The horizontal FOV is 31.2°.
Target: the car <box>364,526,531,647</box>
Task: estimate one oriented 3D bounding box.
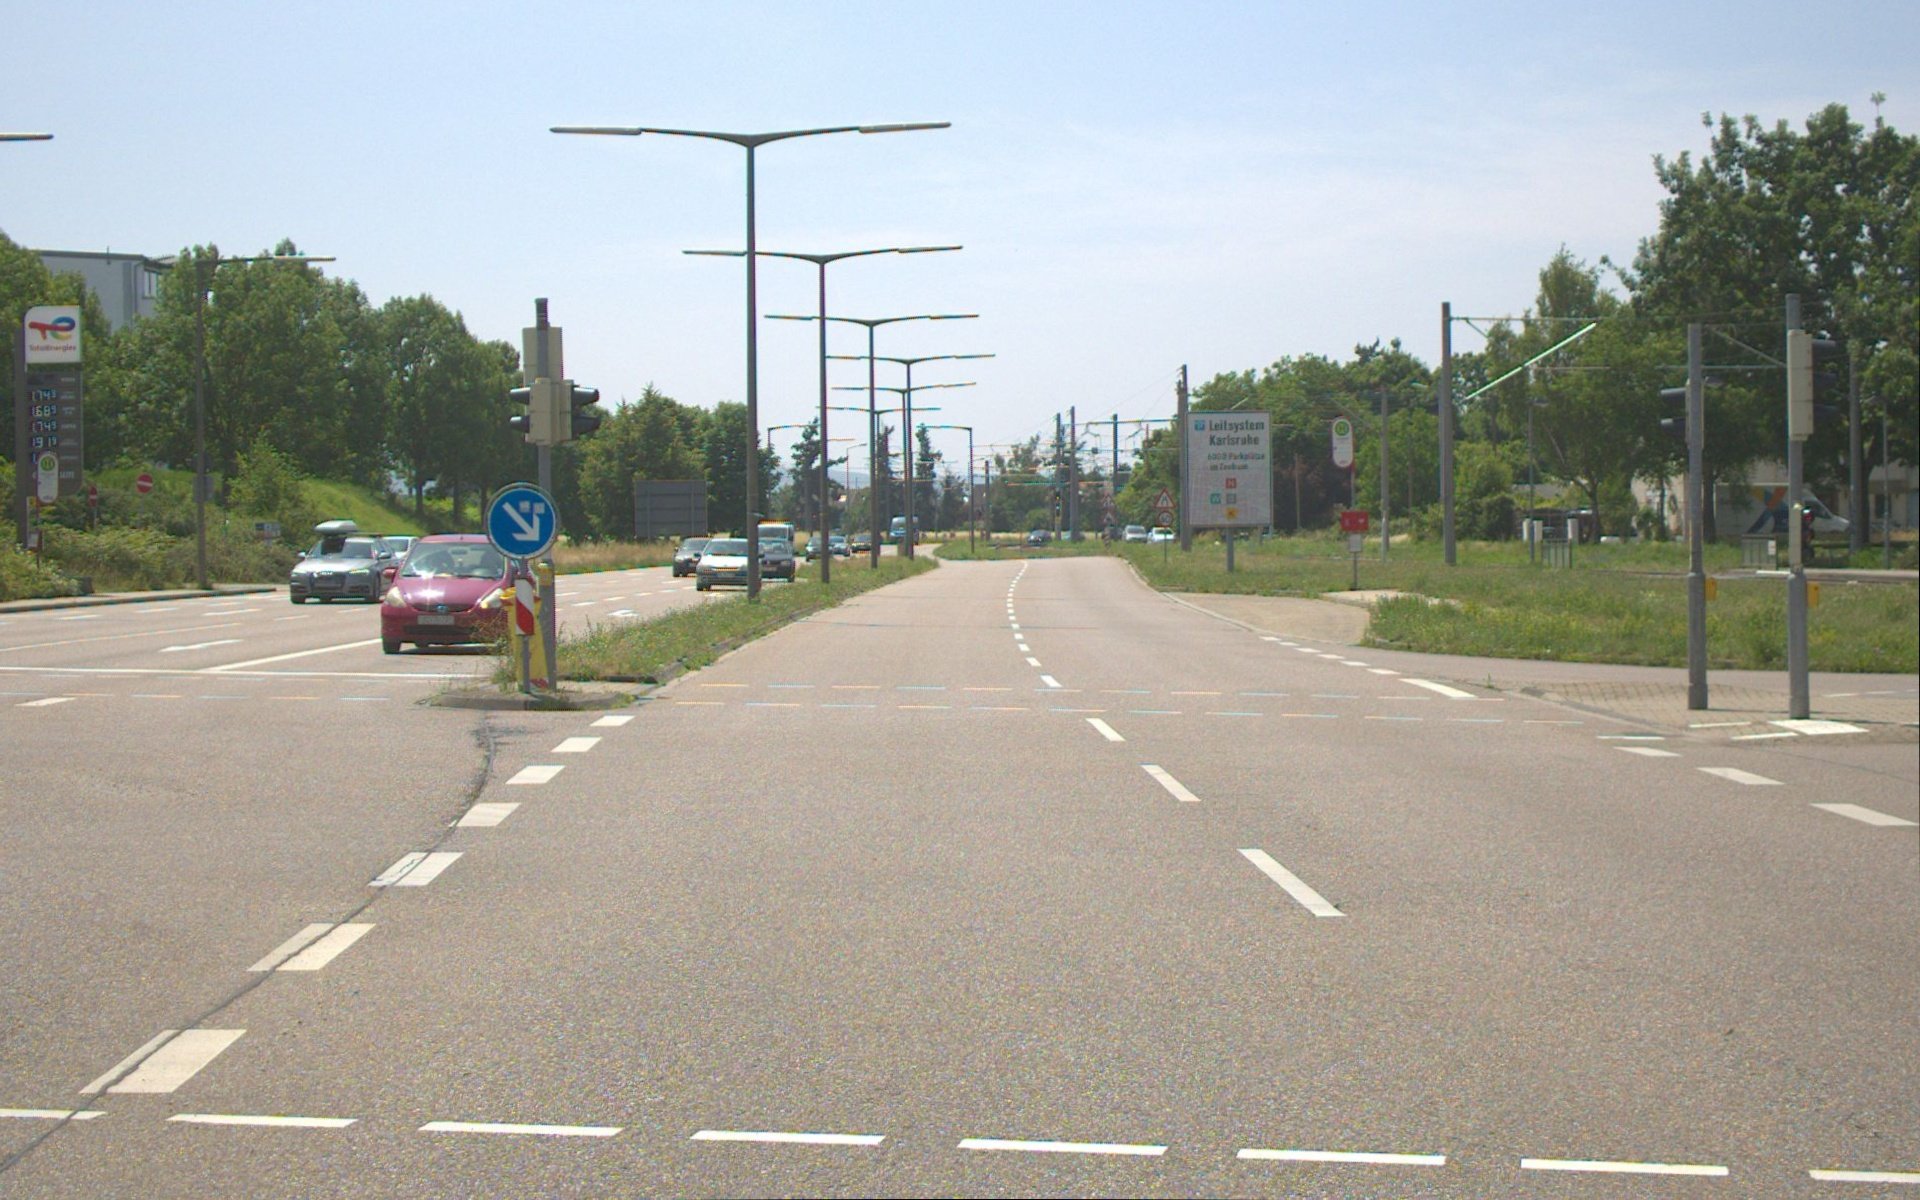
[{"bbox_3d":[-6.630,-0.208,44.798,1.658,1.485,4.001,0,1,-1],"label":"car"}]

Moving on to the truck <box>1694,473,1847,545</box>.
[{"bbox_3d":[34.761,-3.905,147.520,5.839,2.833,2.321,-2,1,-7],"label":"truck"}]

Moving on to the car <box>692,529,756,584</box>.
[{"bbox_3d":[-6.376,-1.196,93.195,1.560,1.418,3.854,0,2,-1],"label":"car"}]

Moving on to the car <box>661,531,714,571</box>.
[{"bbox_3d":[-9.925,-1.786,125.392,1.637,1.424,4.052,0,1,0],"label":"car"}]

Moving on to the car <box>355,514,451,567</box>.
[{"bbox_3d":[-15.637,-1.673,96.598,1.823,1.444,3.827,0,1,4],"label":"car"}]

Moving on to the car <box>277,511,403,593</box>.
[{"bbox_3d":[-13.632,-1.083,75.830,1.964,1.744,5.023,0,1,-1],"label":"car"}]

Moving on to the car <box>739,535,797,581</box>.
[{"bbox_3d":[-6.211,-1.374,111.532,1.675,1.429,4.191,0,1,-1],"label":"car"}]
